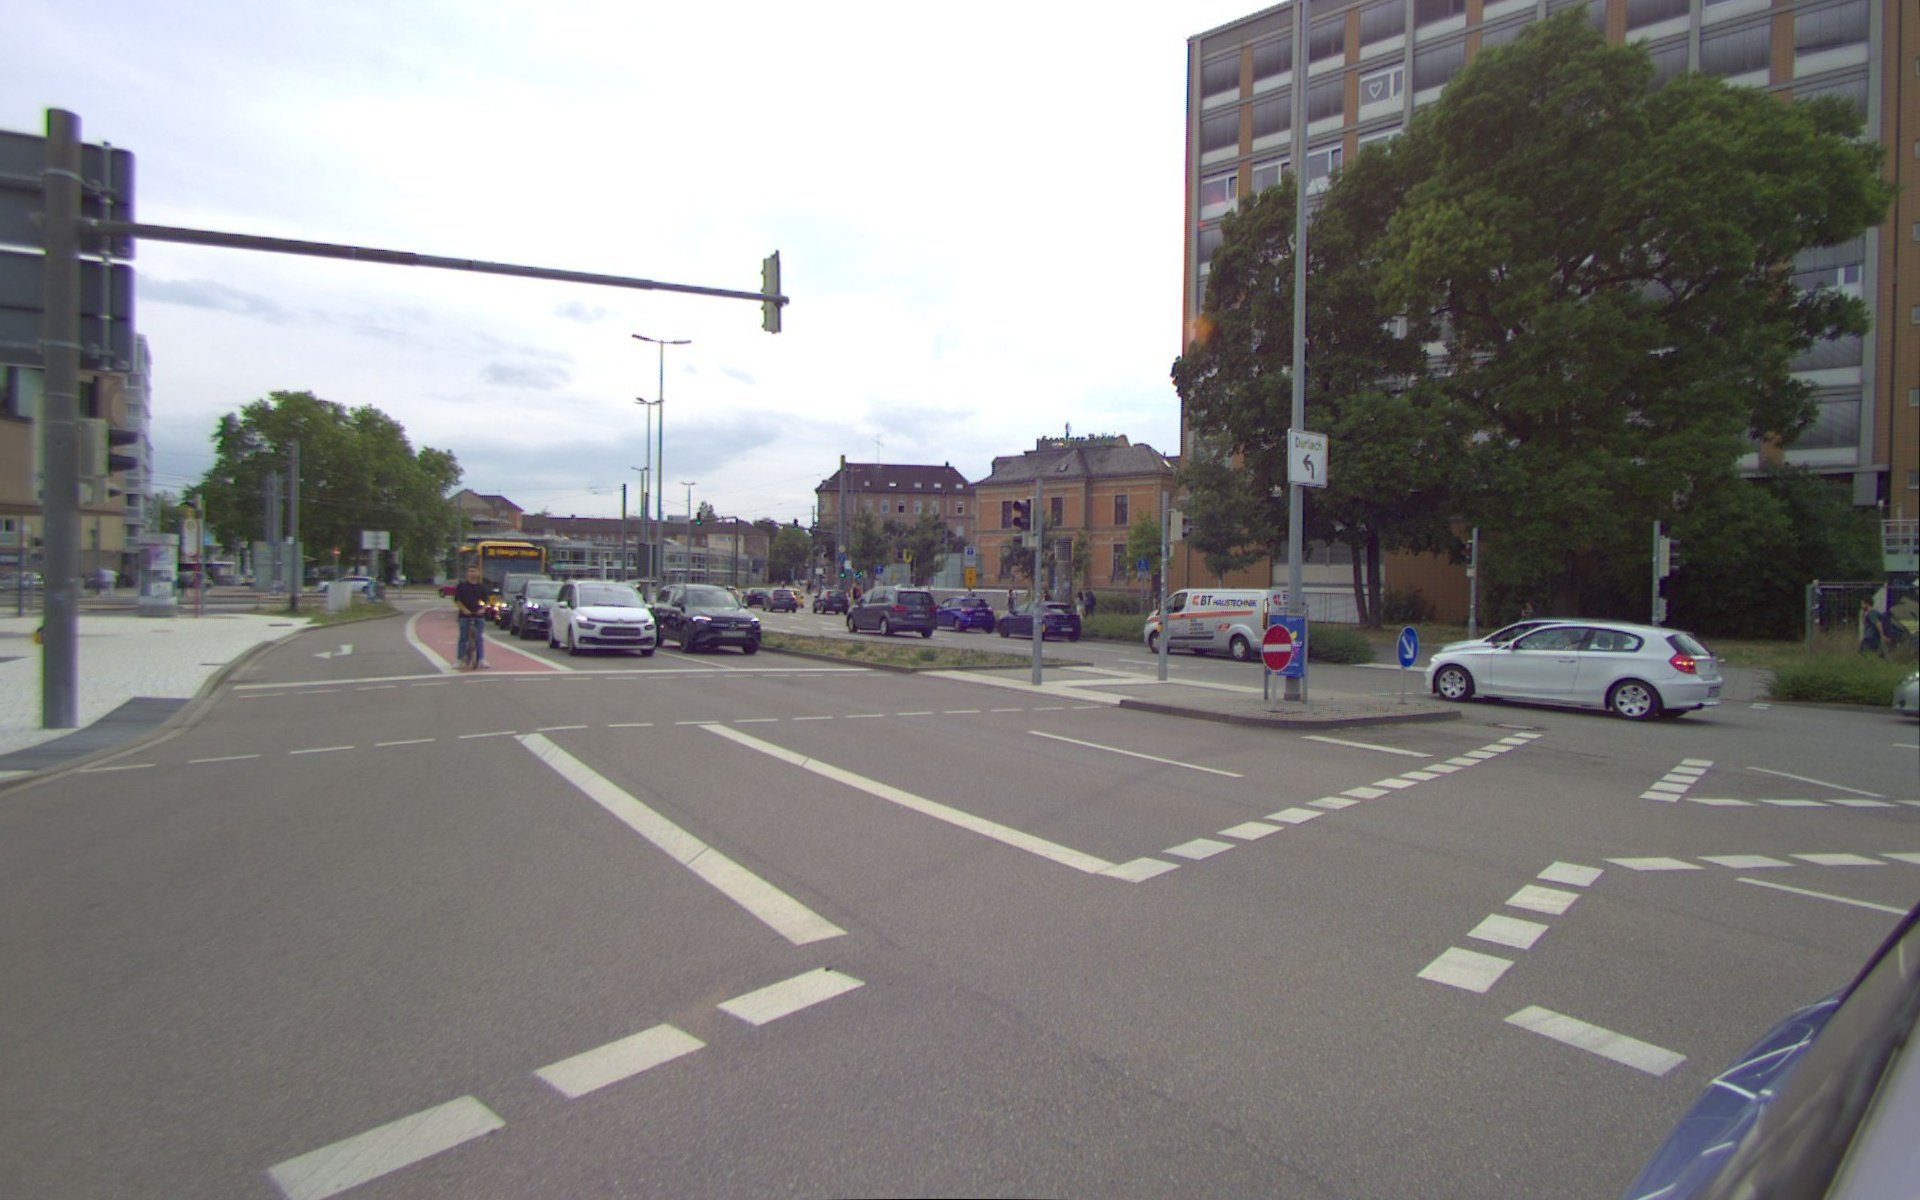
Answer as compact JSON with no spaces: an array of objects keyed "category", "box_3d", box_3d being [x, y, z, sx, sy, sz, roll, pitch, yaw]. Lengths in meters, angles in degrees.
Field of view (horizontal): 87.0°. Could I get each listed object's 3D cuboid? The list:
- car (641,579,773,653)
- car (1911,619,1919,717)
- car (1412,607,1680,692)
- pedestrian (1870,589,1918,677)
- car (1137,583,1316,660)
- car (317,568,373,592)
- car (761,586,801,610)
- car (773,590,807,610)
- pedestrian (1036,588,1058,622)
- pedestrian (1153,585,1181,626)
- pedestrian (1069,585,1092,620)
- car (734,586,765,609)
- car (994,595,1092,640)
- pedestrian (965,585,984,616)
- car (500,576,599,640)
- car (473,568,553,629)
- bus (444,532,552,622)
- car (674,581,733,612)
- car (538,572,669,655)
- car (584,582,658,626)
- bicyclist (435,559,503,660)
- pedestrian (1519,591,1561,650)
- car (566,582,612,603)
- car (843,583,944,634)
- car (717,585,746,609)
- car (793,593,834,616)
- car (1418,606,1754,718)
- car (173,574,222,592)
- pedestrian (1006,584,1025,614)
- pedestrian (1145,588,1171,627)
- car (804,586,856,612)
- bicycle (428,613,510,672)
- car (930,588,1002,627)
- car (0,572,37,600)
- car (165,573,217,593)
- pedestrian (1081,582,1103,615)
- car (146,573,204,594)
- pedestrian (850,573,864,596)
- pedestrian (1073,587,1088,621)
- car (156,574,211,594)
[{"category":"car","box_3d":[-6.476,0.372,25.533,1.960,1.672,4.516,3,-1,-31]},{"category":"car","box_3d":[16.497,1.094,14.528,1.639,1.508,3.876,3,-1,-34]},{"category":"car","box_3d":[12.062,0.965,21.143,1.789,1.493,4.530,3,-1,-33]},{"category":"pedestrian","box_3d":[20.306,0.695,22.013,0.629,1.875,0.707,0,0,-42]},{"category":"car","box_3d":[7.430,0.558,28.830,1.788,1.984,5.211,2,-1,-29]},{"category":"car","box_3d":[-51.113,-1.644,84.201,3.920,1.878,2.002,2,-1,-30]},{"category":"car","box_3d":[-11.205,-0.122,63.036,1.680,1.438,4.008,2,-1,-21]},{"category":"car","box_3d":[-13.175,0.010,78.327,1.674,1.438,3.706,2,-1,-25]},{"category":"pedestrian","box_3d":[4.213,0.240,49.017,0.764,1.593,0.814,-1,1,-19]},{"category":"pedestrian","box_3d":[8.221,0.204,40.163,0.764,1.593,0.814,-1,1,-23]},{"category":"pedestrian","box_3d":[5.586,0.118,46.899,0.764,1.593,0.814,-1,1,-19]},{"category":"car","box_3d":[-15.427,-0.178,74.195,1.801,1.635,3.553,2,-1,-18]},{"category":"car","box_3d":[3.029,0.620,37.690,1.825,1.552,4.008,2,-1,-26]},{"category":"pedestrian","box_3d":[0.762,0.028,53.387,0.764,1.593,0.814,-1,1,-19]},{"category":"car","box_3d":[-12.028,0.213,29.495,1.960,1.672,4.294,3,-1,-31]},{"category":"car","box_3d":[-15.605,-0.050,35.222,1.960,1.923,4.294,3,-1,-31]},{"category":"bus","box_3d":[-20.418,-0.896,44.216,3.094,3.296,12.426,2,-1,-30]},{"category":"car","box_3d":[-12.908,-0.191,50.921,1.640,1.508,3.439,2,0,-37]},{"category":"car","box_3d":[-8.234,0.283,23.116,1.960,1.672,4.294,3,-1,-31]},{"category":"car","box_3d":[-14.078,0.165,41.875,1.960,1.672,4.516,3,-1,-31]},{"category":"bicyclist","box_3d":[-8.532,0.170,17.579,0.853,1.690,0.881,3,-1,-36]},{"category":"pedestrian","box_3d":[16.239,0.560,28.341,0.767,1.593,0.811,-1,1,-42]},{"category":"car","box_3d":[-31.237,-0.629,85.247,3.516,1.635,1.821,2,-1,30]},{"category":"car","box_3d":[-2.464,0.279,36.116,1.724,1.672,4.692,2,-1,-29]},{"category":"car","box_3d":[-14.949,-0.180,66.199,1.665,1.422,3.707,2,-1,-14]},{"category":"car","box_3d":[-9.884,0.309,68.212,1.674,1.438,3.706,2,-1,-25]},{"category":"car","box_3d":[9.808,0.891,16.166,1.727,1.477,4.222,3,-1,-37]},{"category":"car","box_3d":[-79.107,-1.740,105.030,3.921,1.705,1.606,2,-1,-33]},{"category":"pedestrian","box_3d":[2.978,-0.058,54.571,0.764,1.593,0.814,-1,1,-19]},{"category":"pedestrian","box_3d":[8.246,0.314,42.248,0.764,1.593,0.814,-1,1,-19]},{"category":"car","box_3d":[-8.029,-0.059,62.386,2.095,1.438,3.706,2,-1,-25]},{"category":"bicycle","box_3d":[-8.549,0.713,17.561,0.848,0.888,2.518,3,-1,-36]},{"category":"car","box_3d":[0.212,0.289,42.848,1.637,1.527,3.640,2,-1,-24]},{"category":"car","box_3d":[-71.070,-1.058,76.097,1.962,2.039,3.999,3,-1,-36]},{"category":"car","box_3d":[-75.473,-1.660,99.370,3.921,1.705,1.606,2,-1,-33]},{"category":"pedestrian","box_3d":[6.292,-0.080,48.332,0.764,1.593,0.814,-1,1,-19]},{"category":"car","box_3d":[-71.270,-1.456,91.921,3.921,1.705,1.606,2,-1,-33]},{"category":"pedestrian","box_3d":[-7.228,-1.064,71.104,0.764,1.593,0.814,-1,1,-19]},{"category":"pedestrian","box_3d":[5.577,0.164,46.942,0.544,1.555,0.545,0,1,25]},{"category":"car","box_3d":[-73.062,-1.486,95.265,3.921,1.705,1.606,2,-1,-33]}]
